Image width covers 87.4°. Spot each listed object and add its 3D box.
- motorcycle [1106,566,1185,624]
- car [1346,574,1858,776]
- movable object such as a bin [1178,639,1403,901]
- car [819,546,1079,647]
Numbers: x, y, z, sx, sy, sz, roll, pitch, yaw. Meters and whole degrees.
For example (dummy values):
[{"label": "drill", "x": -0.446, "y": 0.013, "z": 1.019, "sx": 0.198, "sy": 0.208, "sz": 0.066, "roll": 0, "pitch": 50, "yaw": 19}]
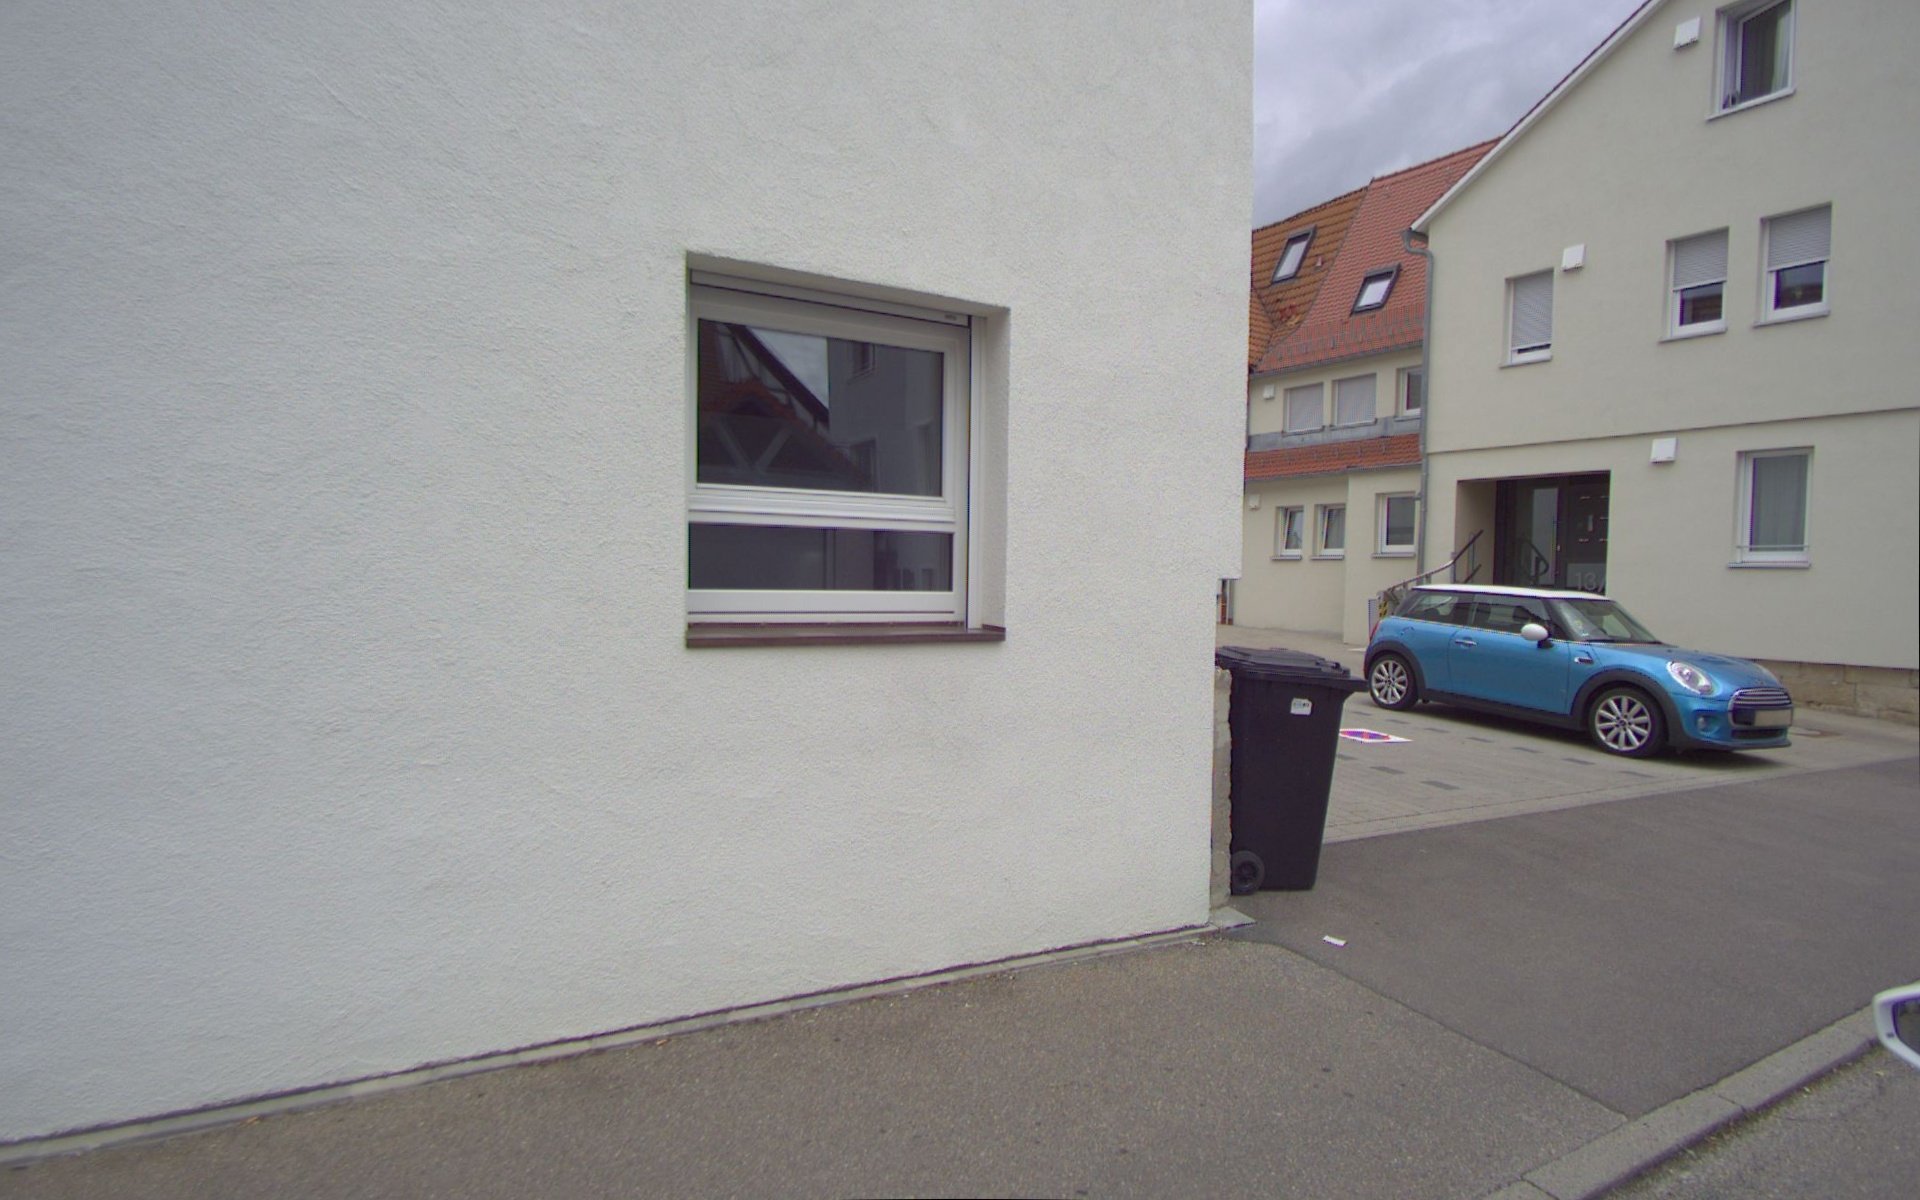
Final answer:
[{"label": "motorcycle", "x": 4.609, "y": -0.153, "z": 25.073, "sx": 0.777, "sy": 1.296, "sz": 1.978, "roll": 1, "pitch": 4, "yaw": -30}, {"label": "car", "x": 6.141, "y": 0.604, "z": 10.097, "sx": 2.093, "sy": 1.430, "sz": 3.717, "roll": 3, "pitch": 3, "yaw": -26}, {"label": "movable object such as a bin", "x": 1.522, "y": 0.771, "z": 4.715, "sx": 0.739, "sy": 1.090, "sz": 0.615, "roll": 3, "pitch": 3, "yaw": -9}, {"label": "car", "x": -0.246, "y": -0.049, "z": 18.849, "sx": 4.500, "sy": 1.424, "sz": 1.792, "roll": 5, "pitch": 0, "yaw": -15}]
